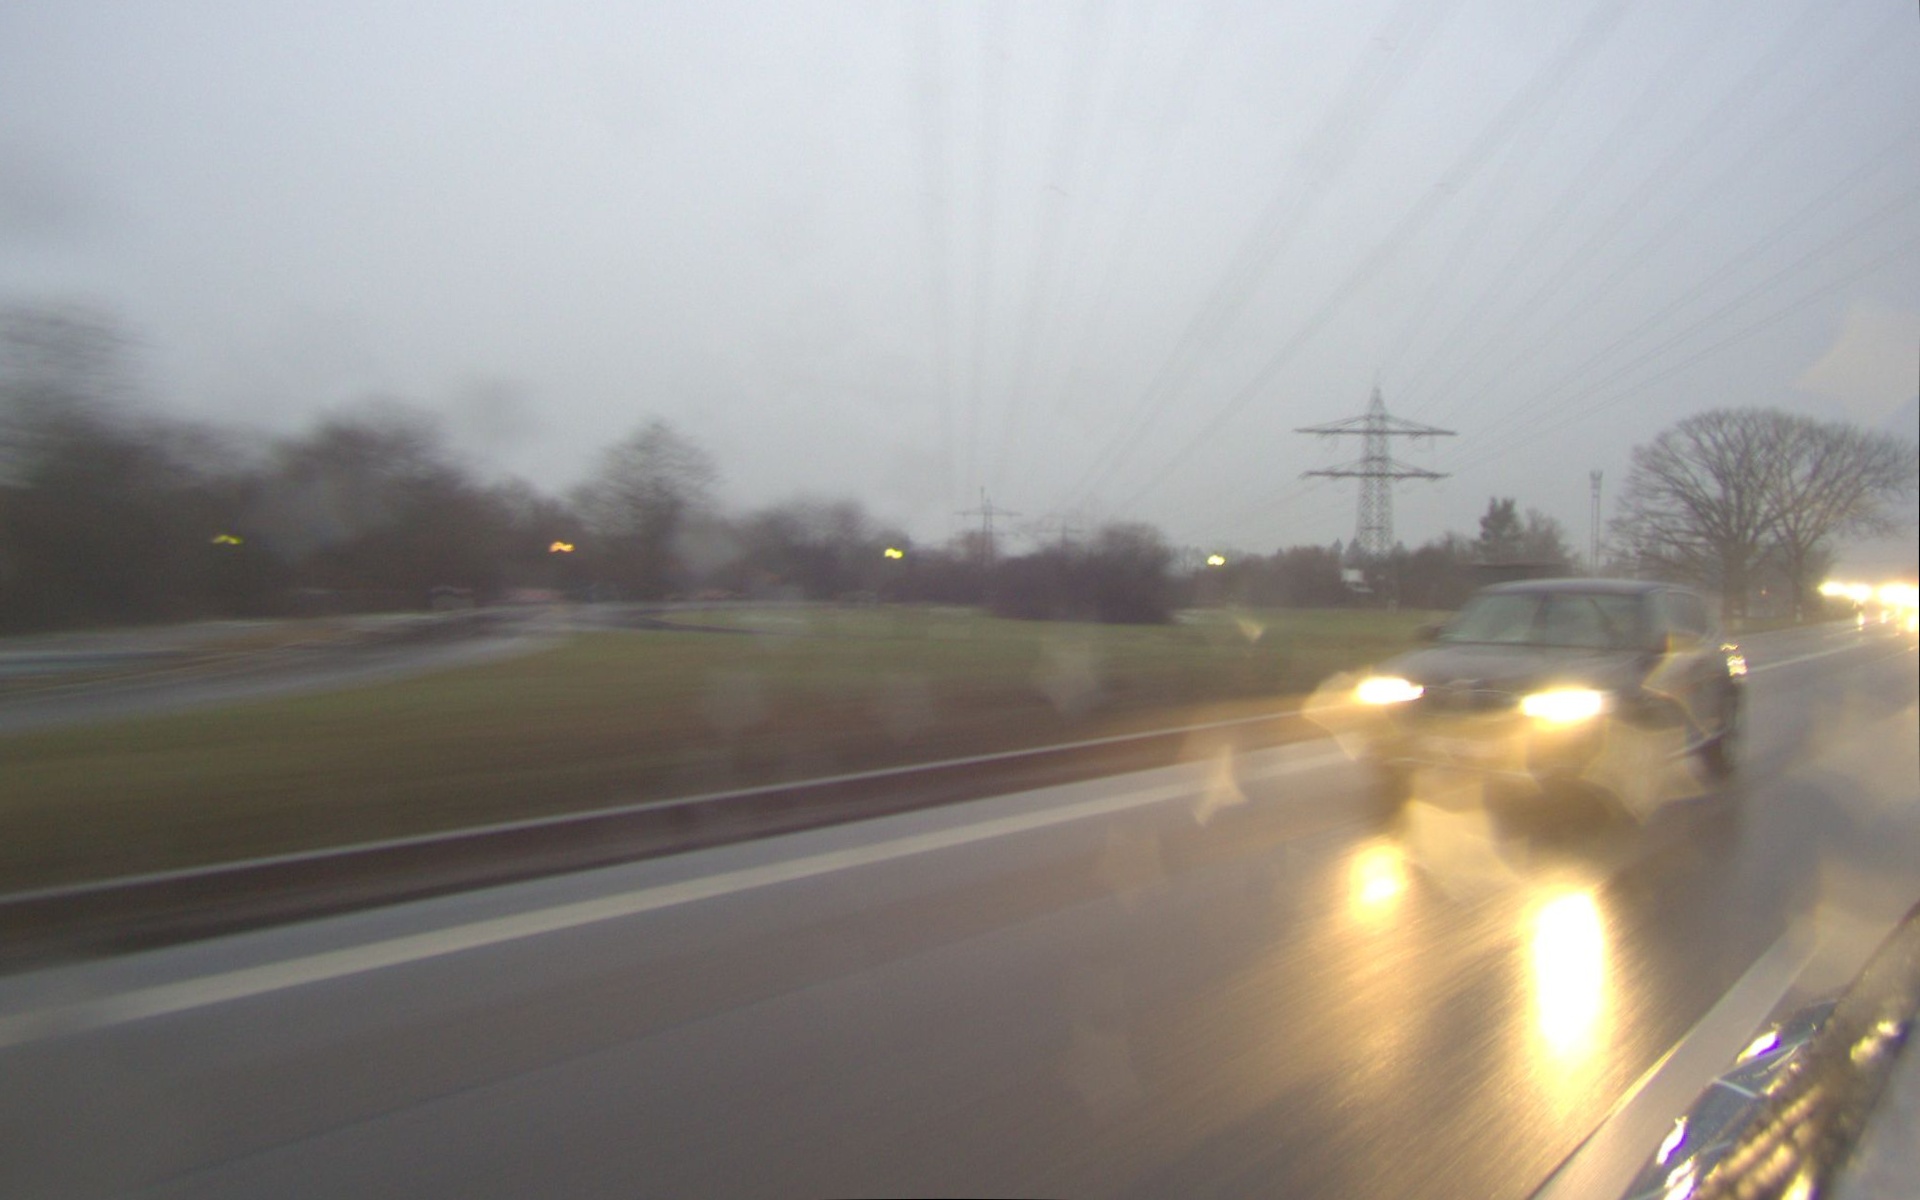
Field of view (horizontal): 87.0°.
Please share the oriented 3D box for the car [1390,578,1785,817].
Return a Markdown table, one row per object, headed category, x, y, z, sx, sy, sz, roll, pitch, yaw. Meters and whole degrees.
| category | x | y | z | sx | sy | sz | roll | pitch | yaw |
| --- | --- | --- | --- | --- | --- | --- | --- | --- | --- |
| car | 5.269 | 0.606 | 8.321 | 3.741 | 1.528 | 1.681 | 0 | 1 | -40 |
